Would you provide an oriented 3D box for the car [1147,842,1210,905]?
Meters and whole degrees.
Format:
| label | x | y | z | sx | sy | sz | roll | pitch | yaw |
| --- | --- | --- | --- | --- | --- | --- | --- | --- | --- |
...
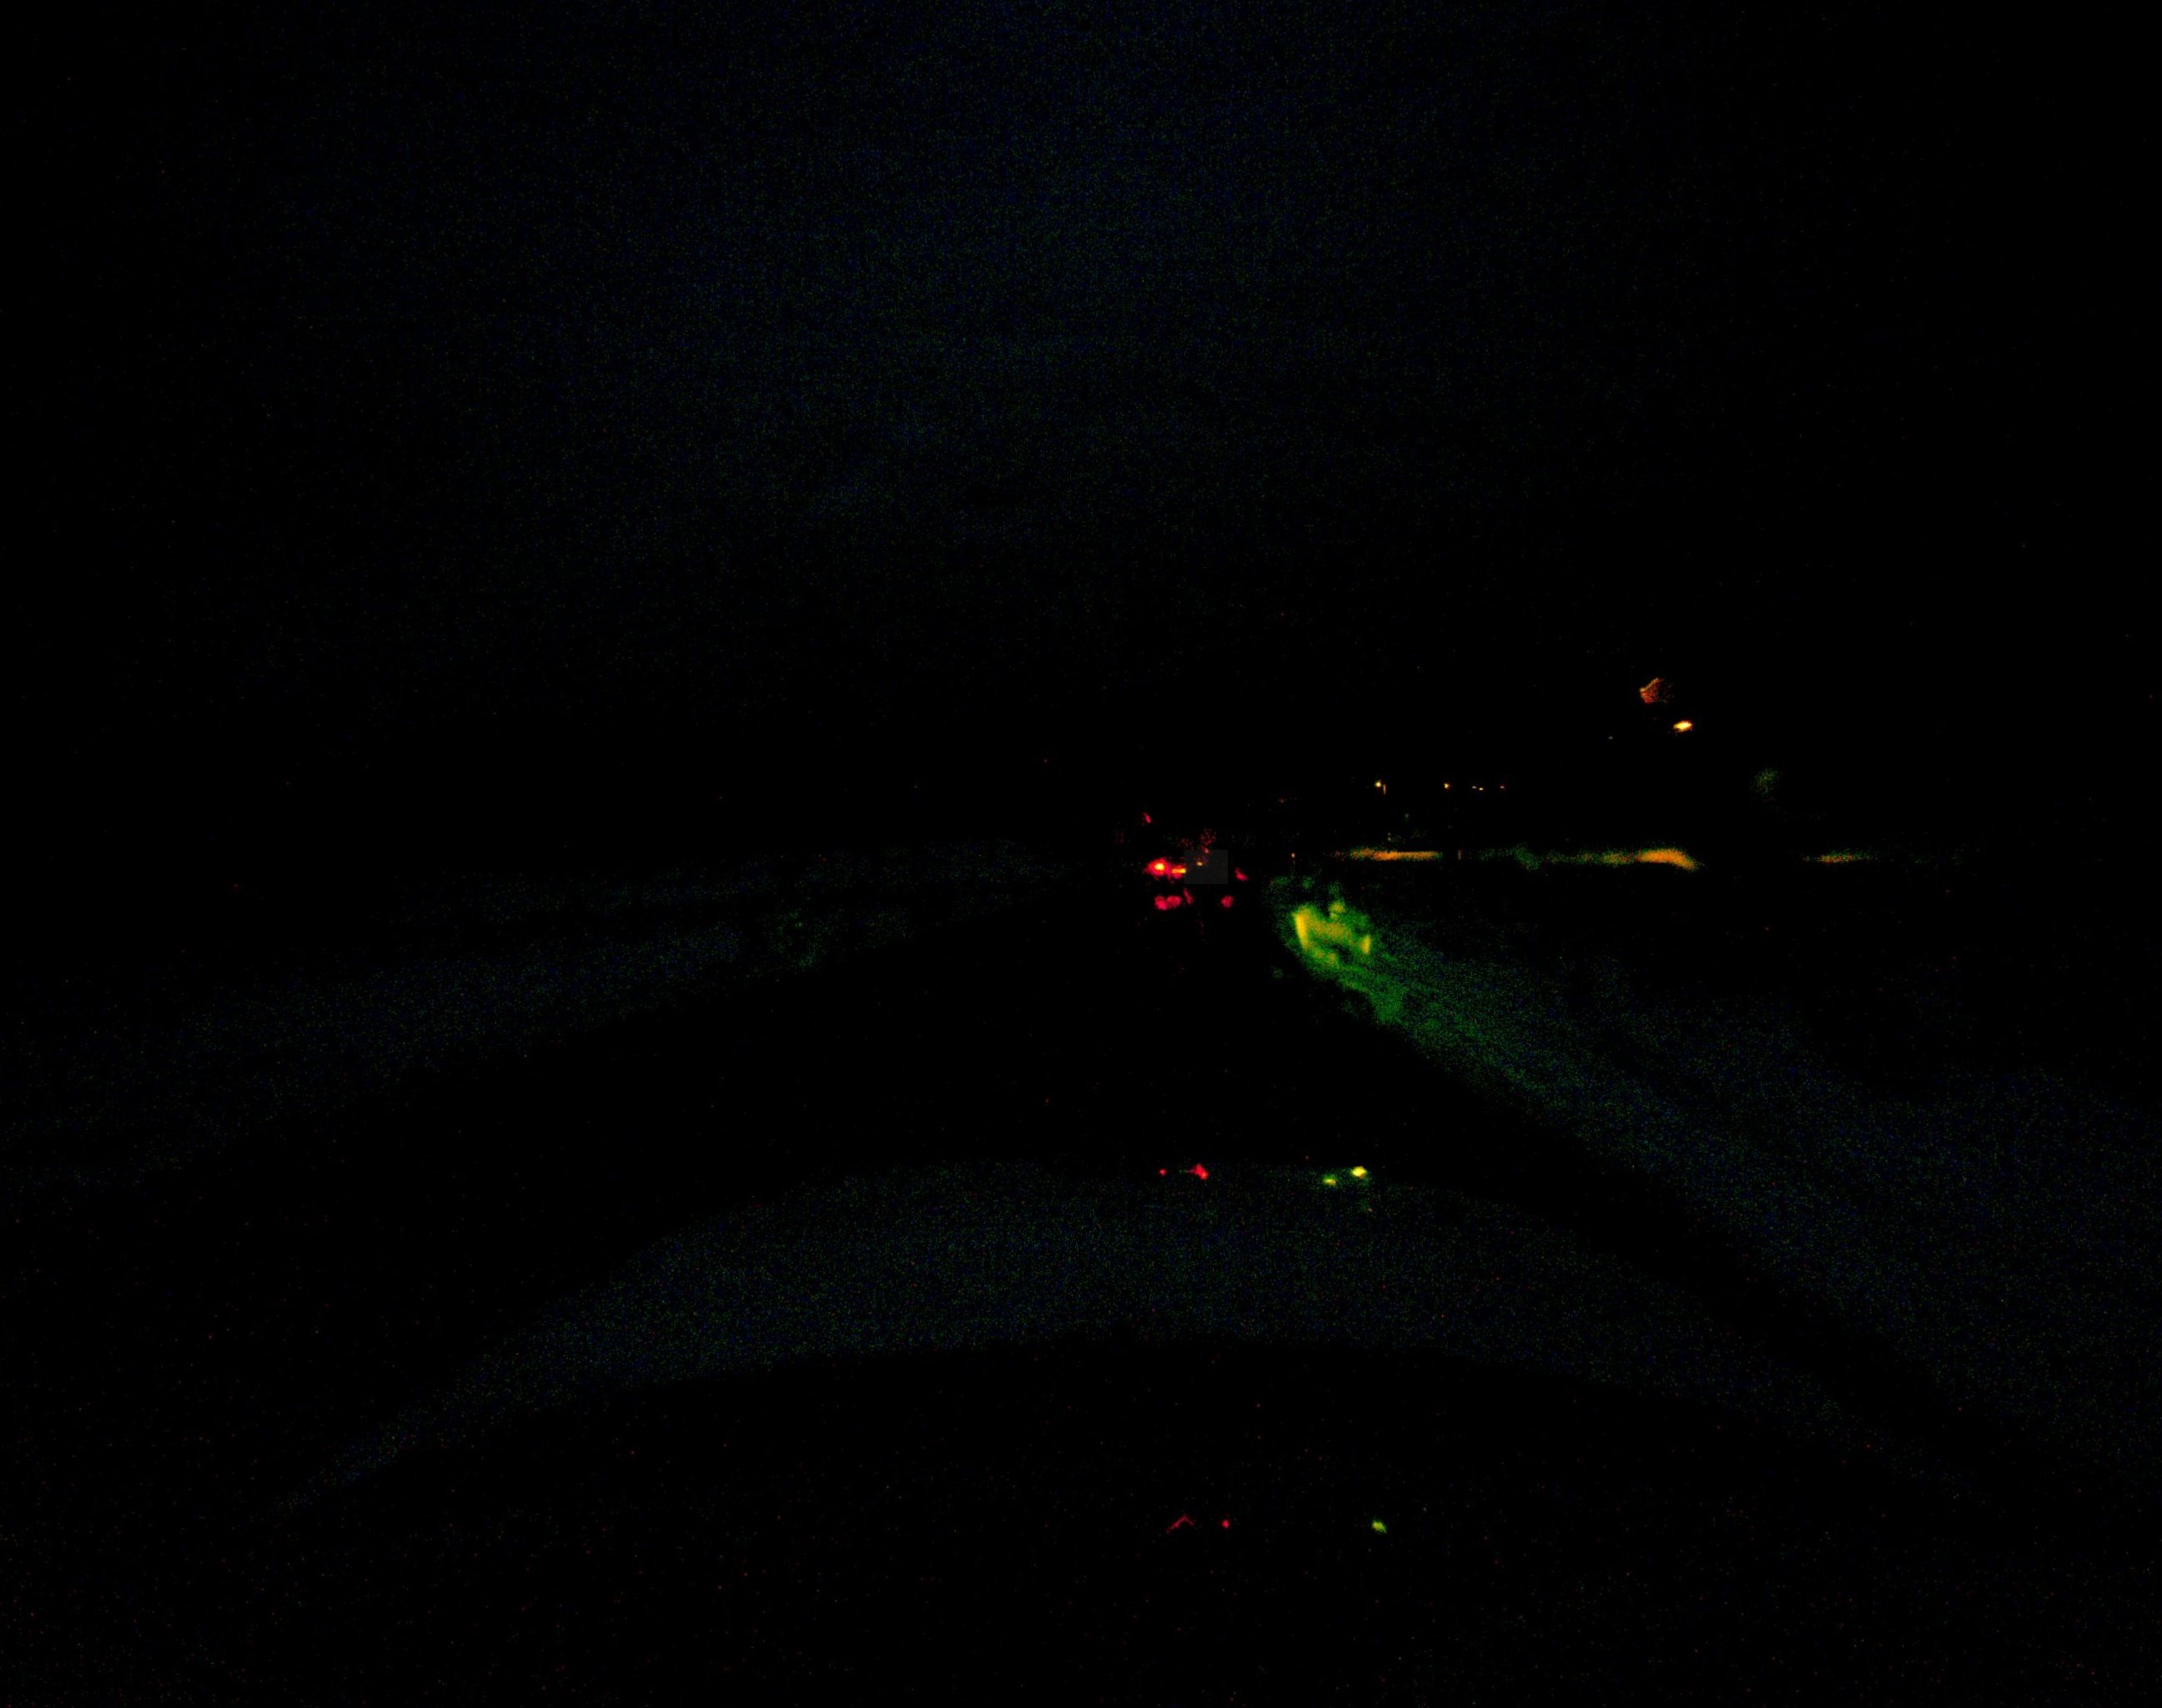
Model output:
| label | x | y | z | sx | sy | sz | roll | pitch | yaw |
| --- | --- | --- | --- | --- | --- | --- | --- | --- | --- |
| car | 3.218 | 0.587 | 26.710 | 1.812 | 1.796 | 3.585 | -4 | 0 | 7 |
